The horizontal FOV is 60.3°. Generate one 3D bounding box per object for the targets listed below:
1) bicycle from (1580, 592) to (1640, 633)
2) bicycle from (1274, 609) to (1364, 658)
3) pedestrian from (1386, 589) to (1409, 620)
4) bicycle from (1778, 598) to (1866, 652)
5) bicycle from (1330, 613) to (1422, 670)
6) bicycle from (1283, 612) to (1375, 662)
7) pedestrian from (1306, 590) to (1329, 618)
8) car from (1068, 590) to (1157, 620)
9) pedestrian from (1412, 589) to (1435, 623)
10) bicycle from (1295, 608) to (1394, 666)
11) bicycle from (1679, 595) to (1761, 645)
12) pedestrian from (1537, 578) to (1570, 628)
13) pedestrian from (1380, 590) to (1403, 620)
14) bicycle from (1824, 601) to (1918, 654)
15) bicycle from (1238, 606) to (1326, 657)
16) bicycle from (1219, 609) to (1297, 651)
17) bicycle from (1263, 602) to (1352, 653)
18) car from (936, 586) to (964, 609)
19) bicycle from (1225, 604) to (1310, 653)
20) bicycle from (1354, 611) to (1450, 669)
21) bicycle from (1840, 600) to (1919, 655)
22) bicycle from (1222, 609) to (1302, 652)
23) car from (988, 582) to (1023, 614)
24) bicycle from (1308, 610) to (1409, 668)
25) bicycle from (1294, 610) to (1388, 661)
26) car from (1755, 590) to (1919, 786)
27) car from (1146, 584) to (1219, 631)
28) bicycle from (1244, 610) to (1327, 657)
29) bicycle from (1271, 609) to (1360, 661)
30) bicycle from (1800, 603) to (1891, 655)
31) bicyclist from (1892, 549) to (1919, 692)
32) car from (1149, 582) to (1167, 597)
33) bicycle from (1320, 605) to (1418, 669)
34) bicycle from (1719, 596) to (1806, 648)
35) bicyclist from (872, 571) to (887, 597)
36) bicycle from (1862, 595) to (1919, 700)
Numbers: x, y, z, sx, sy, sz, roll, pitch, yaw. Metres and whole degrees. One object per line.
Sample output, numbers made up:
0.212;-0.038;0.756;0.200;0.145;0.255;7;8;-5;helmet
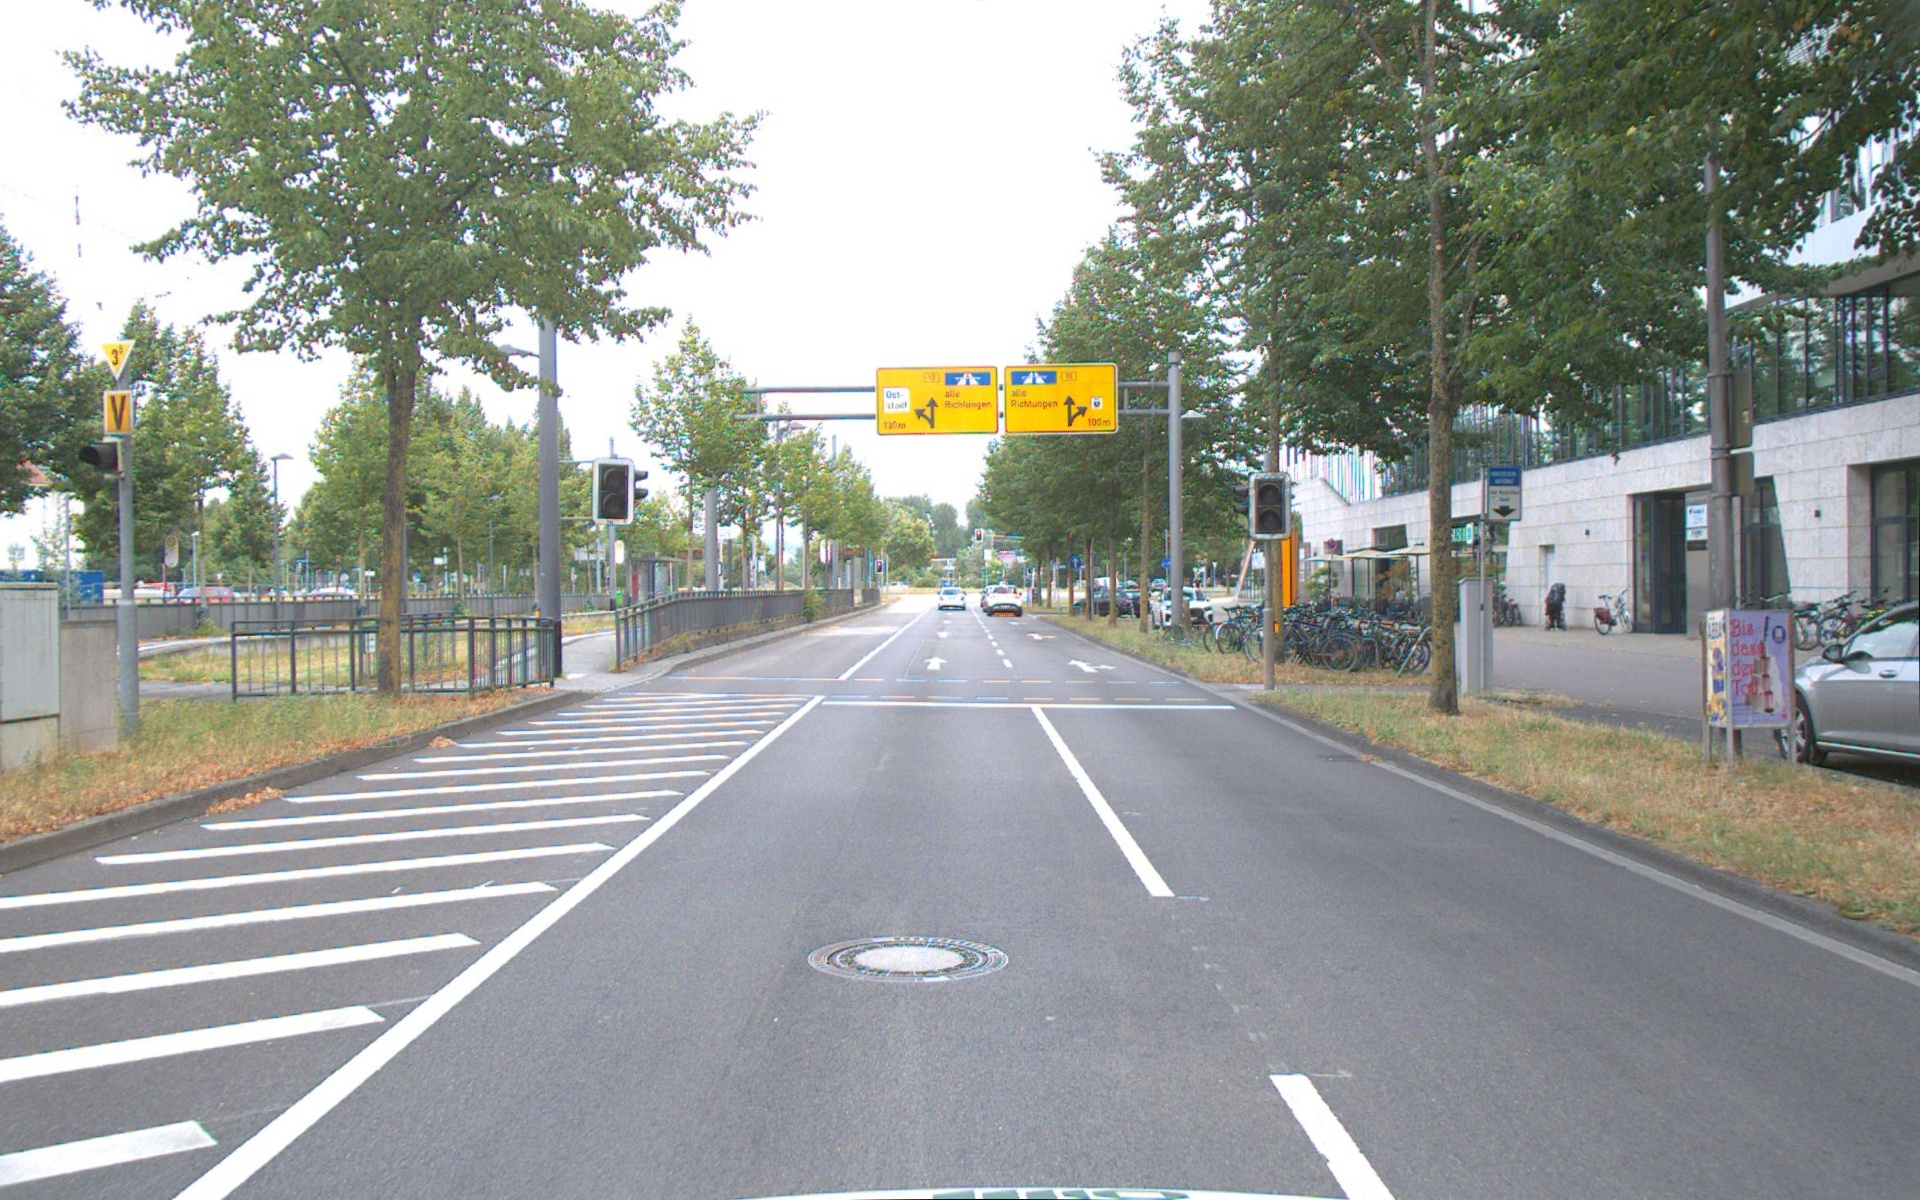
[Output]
17.338;0.337;44.093;1.579;1.044;0.605;-2;0;-28;bicycle
7.380;0.679;33.982;1.683;0.921;0.587;3;0;-9;bicycle
17.420;0.190;65.899;0.704;1.213;0.759;-1;0;1;pedestrian
17.229;0.498;33.073;1.498;1.044;0.533;-1;0;-4;bicycle
7.480;0.745;29.749;1.498;0.970;0.484;2;0;-4;bicycle
7.444;0.752;33.349;1.683;0.921;0.587;3;0;-9;bicycle
16.324;0.162;75.548;0.879;1.250;0.951;-1;0;5;pedestrian
7.813;0.262;84.959;1.925;1.501;4.811;-1;0;-35;car
16.546;0.204;59.051;0.756;1.213;1.107;-1;0;15;pedestrian
7.442;0.712;32.007;1.739;1.030;0.609;3;0;-9;bicycle
16.877;0.436;36.732;1.566;1.044;0.533;-2;0;-4;bicycle
17.224;0.074;47.998;0.740;1.431;0.721;-1;0;7;pedestrian
17.428;0.192;66.750;0.704;1.213;0.759;-1;0;-1;pedestrian
17.236;0.508;31.308;1.498;0.970;0.533;-1;0;-4;bicycle
7.452;0.721;38.246;1.894;1.083;0.543;3;0;-9;bicycle
7.518;0.750;41.751;1.824;0.968;0.652;3;0;-4;bicycle
7.407;0.585;35.292;1.711;0.991;0.608;3;0;-9;bicycle
-0.674;-0.164;107.514;1.738;1.474;3.909;-1;0;-2;car
7.482;0.693;40.316;1.891;1.083;0.704;3;0;-4;bicycle
7.740;0.698;28.981;1.498;0.970;0.552;2;0;-4;bicycle
17.228;0.506;30.703;1.498;0.970;0.533;-1;0;-4;bicycle
7.489;0.747;41.009;1.824;0.968;0.612;3;0;-4;bicycle
2.415;-0.119;88.332;1.742;1.685;4.023;-1;0;0;car
7.535;0.735;31.316;1.739;1.030;0.609;2;0;-9;bicycle
7.530;0.695;32.736;1.683;0.921;0.587;3;0;-9;bicycle
7.983;0.652;12.715;1.724;1.446;4.182;0;0;0;car
7.890;0.246;59.020;1.899;1.579;4.593;-1;1;-1;car
7.397;0.763;37.600;1.711;0.991;0.608;3;0;-9;bicycle
7.438;0.730;34.643;1.683;0.991;0.608;3;0;-9;bicycle
17.203;0.554;32.132;1.498;0.970;0.533;-1;0;-4;bicycle
12.381;0.227;20.448;0.977;1.767;1.129;-3;0;-1;bicyclist
22.310;-1.173;186.480;1.745;1.664;4.406;-1;0;10;car
7.534;0.677;30.486;1.635;1.109;0.525;2;0;-4;bicycle
16.917;0.450;34.887;1.566;1.044;0.533;-2;0;-4;bicycle
-5.928;-1.199;121.926;0.728;1.918;0.720;-3;1;-41;bicyclist
12.381;0.592;20.657;0.884;1.256;2.267;-3;0;-1;bicycle
